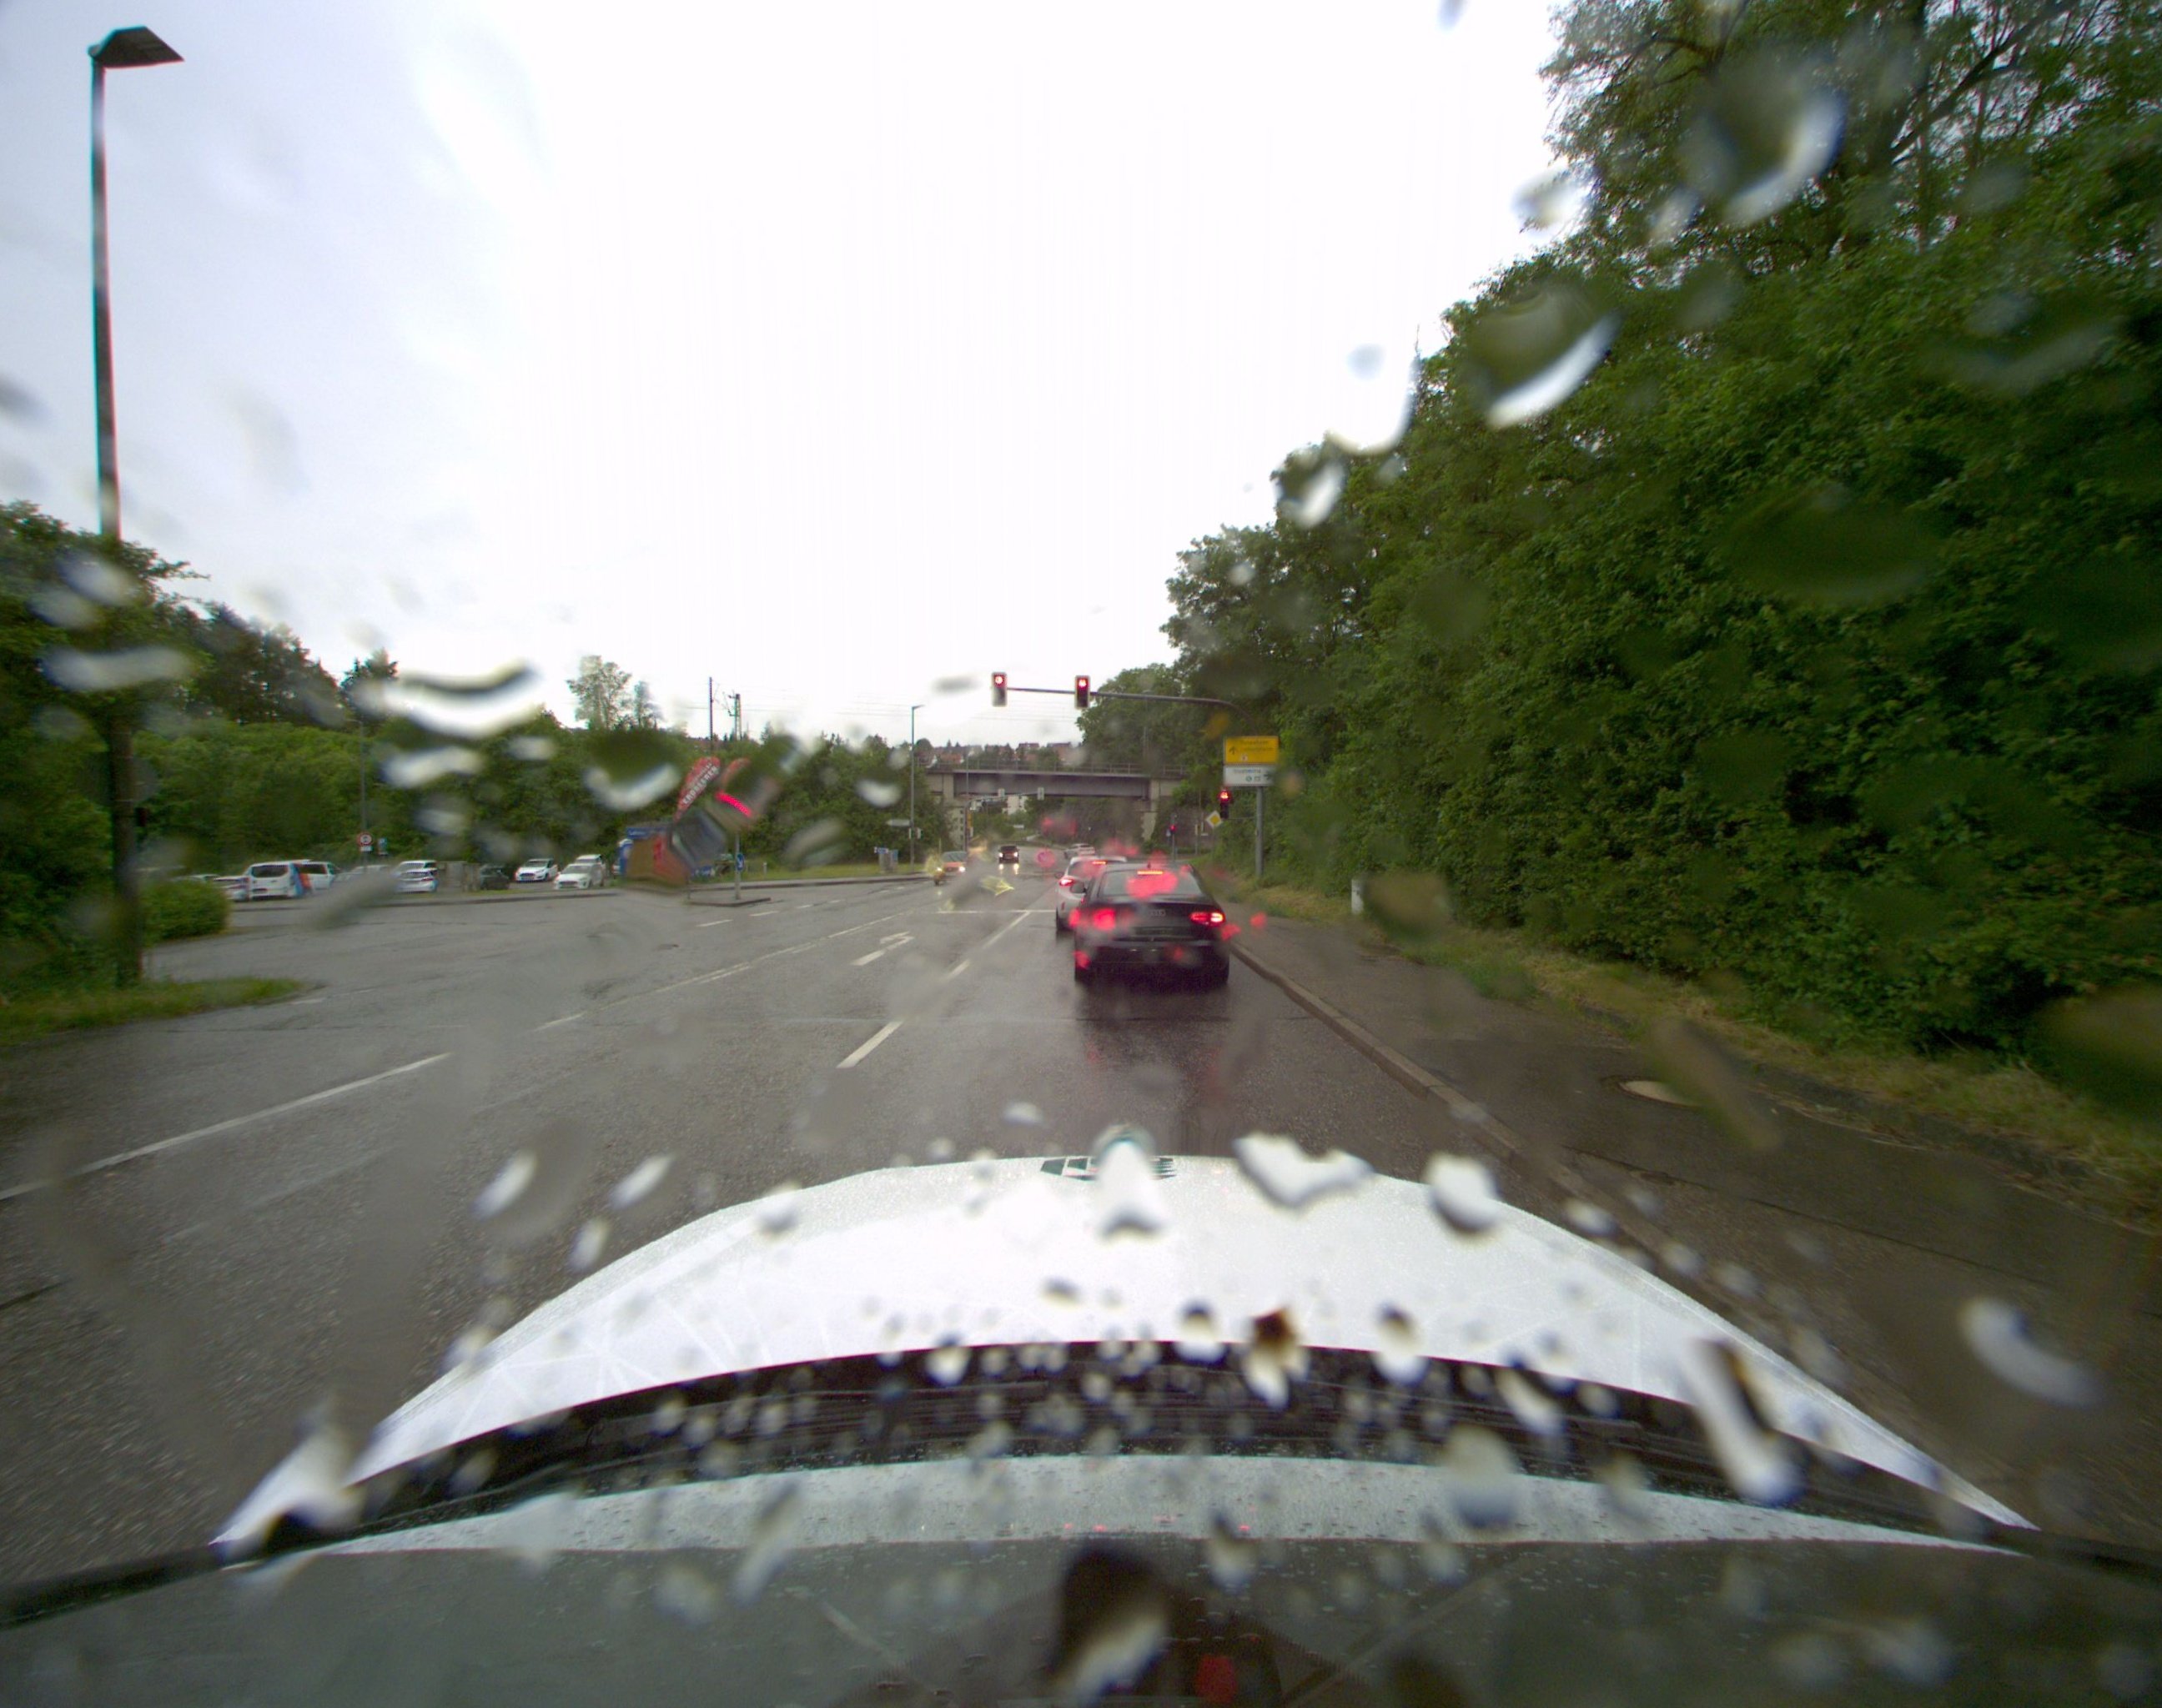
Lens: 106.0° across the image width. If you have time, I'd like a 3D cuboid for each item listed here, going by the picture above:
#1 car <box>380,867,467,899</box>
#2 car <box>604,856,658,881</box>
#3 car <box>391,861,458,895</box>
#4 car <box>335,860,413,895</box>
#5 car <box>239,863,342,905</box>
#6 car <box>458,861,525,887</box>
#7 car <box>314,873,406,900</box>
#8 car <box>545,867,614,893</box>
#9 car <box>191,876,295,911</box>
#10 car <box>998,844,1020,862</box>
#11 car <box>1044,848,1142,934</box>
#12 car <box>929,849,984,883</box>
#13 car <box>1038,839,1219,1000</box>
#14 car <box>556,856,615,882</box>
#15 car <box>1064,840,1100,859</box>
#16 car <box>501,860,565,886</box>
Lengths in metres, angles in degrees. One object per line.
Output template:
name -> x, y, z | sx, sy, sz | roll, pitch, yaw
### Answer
car -> -34.474, 1.471, 42.824 | 1.937, 1.585, 3.892 | -1, -1, -11
car -> -30.324, 0.930, 55.049 | 1.994, 1.585, 3.985 | -2, 0, -11
car -> -42.130, 1.500, 52.359 | 1.941, 2.013, 3.849 | -1, 0, -15
car -> -44.713, 1.442, 51.620 | 1.995, 2.013, 3.983 | -2, 0, -12
car -> -39.382, 1.446, 40.701 | 1.997, 1.949, 3.978 | -1, -1, -16
car -> -37.895, 1.255, 52.483 | 1.994, 1.585, 3.984 | -1, -1, -11
car -> -37.104, 1.639, 42.046 | 1.751, 1.310, 3.984 | -1, -1, -11
car -> -27.725, 1.401, 45.203 | 1.652, 1.340, 4.883 | -1, -1, -11
car -> -41.667, 1.930, 40.624 | 1.858, 1.585, 3.978 | -1, -1, -16
car -> -6.940, -0.076, 78.183 | 1.990, 1.628, 3.993 | -2, 0, -5
car -> 0.283, 0.719, 17.174 | 1.816, 1.585, 4.001 | -1, -1, 2
car -> -6.147, 0.578, 40.709 | 1.986, 1.585, 4.001 | -1, -1, 2
car -> 0.560, 0.652, 10.494 | 1.863, 1.616, 4.002 | -1, 2, 2
car -> -32.559, 0.944, 53.645 | 1.994, 1.585, 3.985 | -2, 0, -11
car -> 0.072, -0.440, 82.440 | 1.815, 1.742, 4.438 | 0, -1, -29
car -> -35.406, 1.220, 52.740 | 1.994, 1.585, 3.984 | -1, -1, -11
